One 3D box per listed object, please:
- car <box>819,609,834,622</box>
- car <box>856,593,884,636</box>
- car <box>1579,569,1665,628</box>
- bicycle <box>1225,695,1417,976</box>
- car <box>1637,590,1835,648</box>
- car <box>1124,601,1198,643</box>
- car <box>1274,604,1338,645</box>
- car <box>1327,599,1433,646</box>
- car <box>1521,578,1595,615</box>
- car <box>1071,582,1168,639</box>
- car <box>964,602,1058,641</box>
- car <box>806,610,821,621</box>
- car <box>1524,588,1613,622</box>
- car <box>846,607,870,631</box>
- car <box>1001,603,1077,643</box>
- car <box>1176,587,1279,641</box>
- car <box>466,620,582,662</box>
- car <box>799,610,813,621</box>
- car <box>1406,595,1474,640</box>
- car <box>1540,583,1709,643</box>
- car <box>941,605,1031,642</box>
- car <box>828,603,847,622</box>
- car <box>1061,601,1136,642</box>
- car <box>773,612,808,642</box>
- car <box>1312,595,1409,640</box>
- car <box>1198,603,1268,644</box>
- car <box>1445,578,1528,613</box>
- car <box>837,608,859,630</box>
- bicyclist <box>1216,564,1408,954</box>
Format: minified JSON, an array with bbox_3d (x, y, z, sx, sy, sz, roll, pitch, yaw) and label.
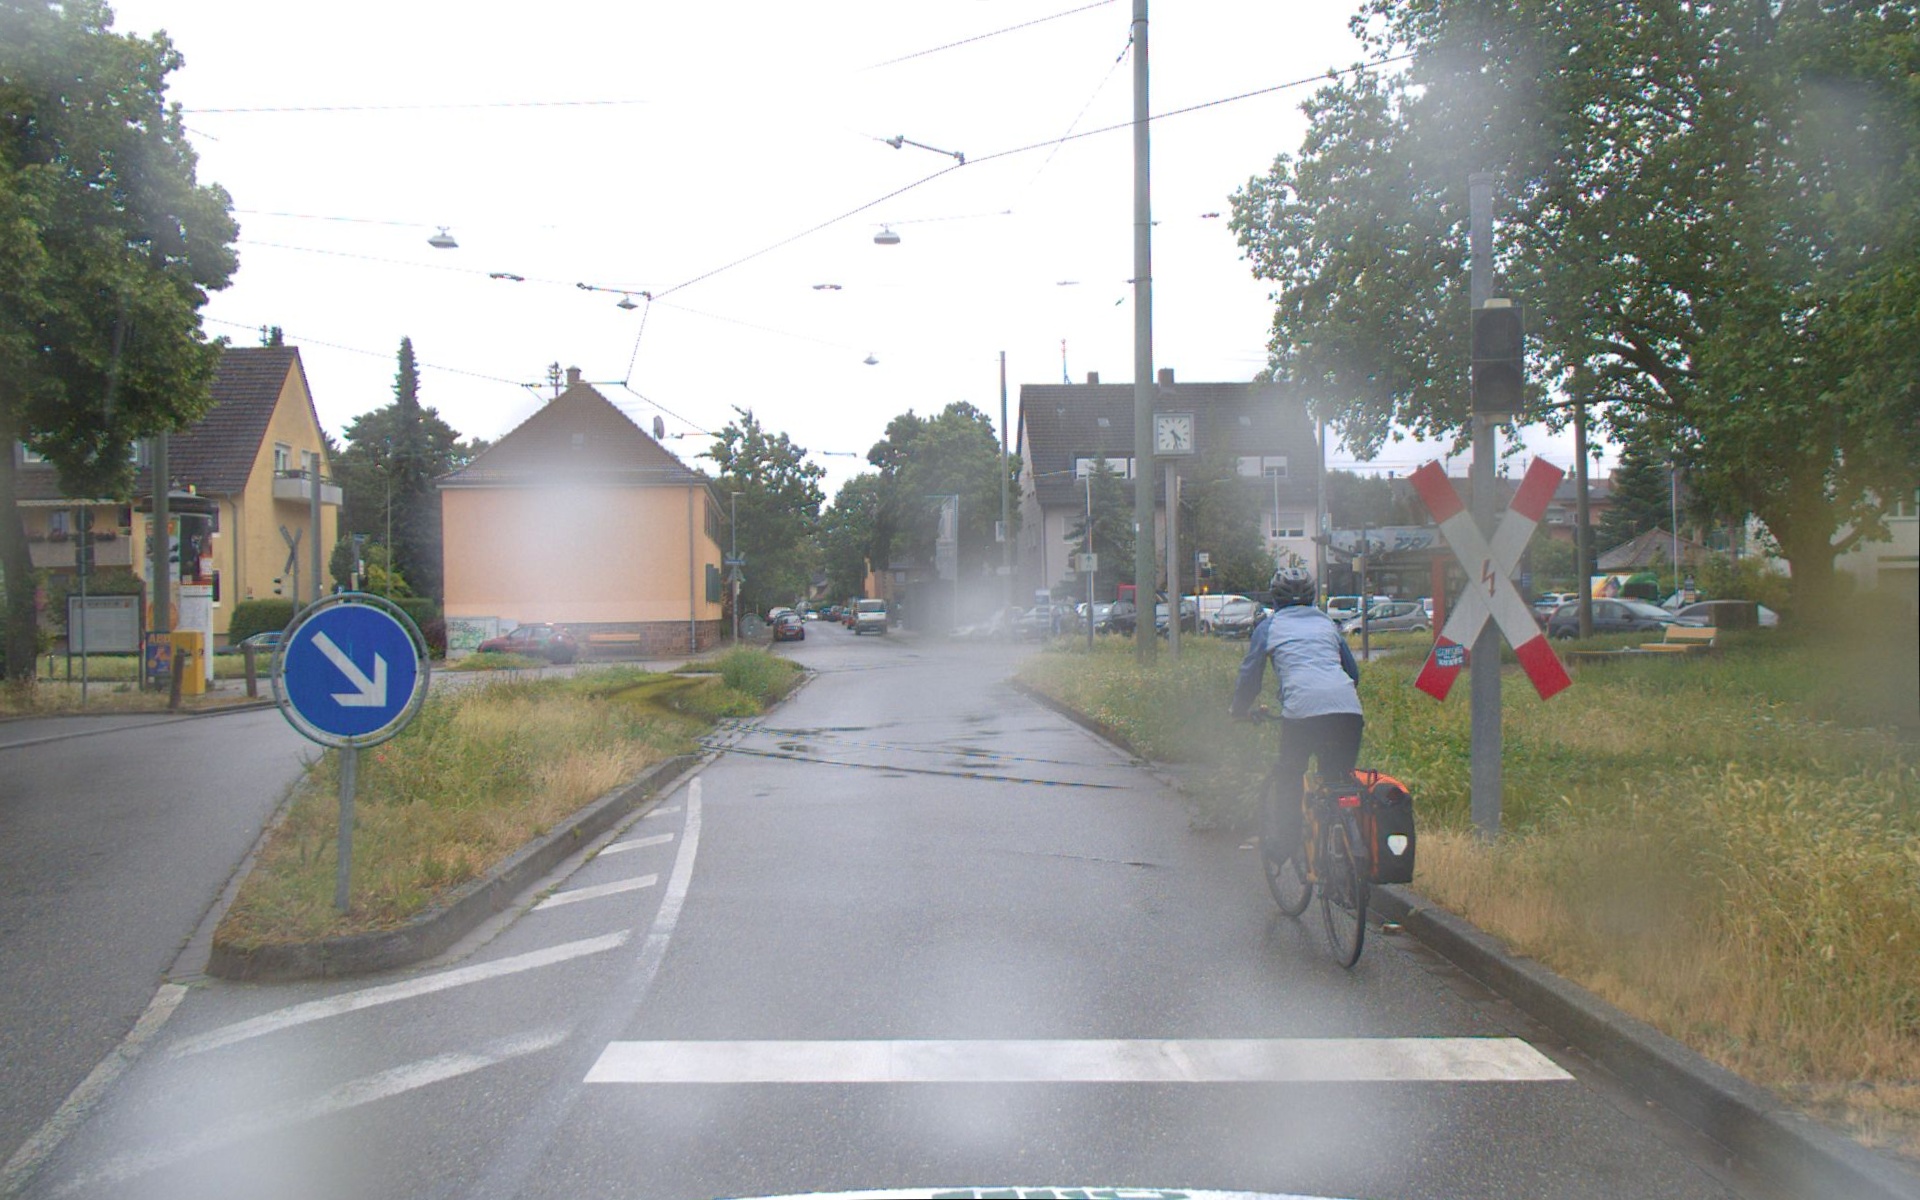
[{"bbox_3d":[-16.928,1.932,209.824,1.768,1.591,3.998,1,-1,-3],"label":"car"},{"bbox_3d":[-5.790,0.935,106.788,1.768,2.673,3.998,1,-1,-3],"label":"car"},{"bbox_3d":[29.102,-0.021,72.825,1.953,2.485,4.352,1,-1,-2],"label":"car"},{"bbox_3d":[1.595,0.999,7.529,0.437,1.022,1.727,-1,0,-2],"label":"bicycle"},{"bbox_3d":[18.539,0.451,39.664,3.902,1.308,1.847,1,-1,6],"label":"car"},{"bbox_3d":[8.457,0.938,69.287,1.954,1.669,3.997,0,-1,24],"label":"car"},{"bbox_3d":[14.673,1.050,69.981,1.804,1.669,3.997,0,-1,24],"label":"car"},{"bbox_3d":[16.256,0.882,64.145,3.609,1.731,1.890,1,-1,0],"label":"car"},{"bbox_3d":[34.315,-0.154,94.934,1.963,2.049,3.978,1,-1,-19],"label":"car"},{"bbox_3d":[7.602,0.490,78.730,4.301,2.611,2.001,1,-1,14],"label":"car"},{"bbox_3d":[2.345,0.996,75.707,3.956,1.705,1.974,2,-1,-36],"label":"car"},{"bbox_3d":[-20.108,2.165,226.961,1.768,1.486,3.998,1,-1,-3],"label":"car"},{"bbox_3d":[31.197,0.273,84.859,3.905,1.669,1.846,1,-1,0],"label":"car"},{"bbox_3d":[-7.777,1.456,126.628,1.768,1.843,3.998,1,-1,-3],"label":"car"},{"bbox_3d":[3.451,1.000,71.631,1.954,1.669,3.997,0,-1,24],"label":"car"},{"bbox_3d":[12.135,0.640,75.223,4.307,2.366,1.999,1,-1,-3],"label":"car"},{"bbox_3d":[-16.085,1.515,61.174,3.911,1.482,1.831,1,-1,-7],"label":"car"},{"bbox_3d":[-21.635,2.211,232.212,1.768,1.486,3.998,1,-1,-3],"label":"car"},{"bbox_3d":[20.680,0.764,71.393,1.952,1.822,4.001,1,-1,3],"label":"car"},{"bbox_3d":[17.849,0.343,44.520,3.848,1.522,1.798,0,-1,43],"label":"car"},{"bbox_3d":[1.251,1.119,78.758,3.956,1.672,1.974,2,-1,-36],"label":"car"},{"bbox_3d":[-12.081,1.253,163.288,1.768,1.843,3.998,1,-1,-3],"label":"car"},{"bbox_3d":[5.914,0.912,70.421,1.954,1.669,3.997,0,-1,24],"label":"car"},{"bbox_3d":[-9.650,1.535,94.378,1.768,1.680,3.998,1,-1,-3],"label":"car"},{"bbox_3d":[18.212,0.798,75.343,3.907,1.985,1.999,1,-1,-3],"label":"car"},{"bbox_3d":[11.511,0.992,69.548,1.954,1.669,3.997,0,-1,24],"label":"car"},{"bbox_3d":[28.658,-0.239,90.054,3.904,1.822,2.000,1,-1,2],"label":"car"},{"bbox_3d":[-9.861,1.686,146.081,1.768,1.843,3.998,1,-1,-3],"label":"car"},{"bbox_3d":[1.573,0.686,7.497,0.653,1.654,0.852,1,-1,-2],"label":"bicyclist"}]
